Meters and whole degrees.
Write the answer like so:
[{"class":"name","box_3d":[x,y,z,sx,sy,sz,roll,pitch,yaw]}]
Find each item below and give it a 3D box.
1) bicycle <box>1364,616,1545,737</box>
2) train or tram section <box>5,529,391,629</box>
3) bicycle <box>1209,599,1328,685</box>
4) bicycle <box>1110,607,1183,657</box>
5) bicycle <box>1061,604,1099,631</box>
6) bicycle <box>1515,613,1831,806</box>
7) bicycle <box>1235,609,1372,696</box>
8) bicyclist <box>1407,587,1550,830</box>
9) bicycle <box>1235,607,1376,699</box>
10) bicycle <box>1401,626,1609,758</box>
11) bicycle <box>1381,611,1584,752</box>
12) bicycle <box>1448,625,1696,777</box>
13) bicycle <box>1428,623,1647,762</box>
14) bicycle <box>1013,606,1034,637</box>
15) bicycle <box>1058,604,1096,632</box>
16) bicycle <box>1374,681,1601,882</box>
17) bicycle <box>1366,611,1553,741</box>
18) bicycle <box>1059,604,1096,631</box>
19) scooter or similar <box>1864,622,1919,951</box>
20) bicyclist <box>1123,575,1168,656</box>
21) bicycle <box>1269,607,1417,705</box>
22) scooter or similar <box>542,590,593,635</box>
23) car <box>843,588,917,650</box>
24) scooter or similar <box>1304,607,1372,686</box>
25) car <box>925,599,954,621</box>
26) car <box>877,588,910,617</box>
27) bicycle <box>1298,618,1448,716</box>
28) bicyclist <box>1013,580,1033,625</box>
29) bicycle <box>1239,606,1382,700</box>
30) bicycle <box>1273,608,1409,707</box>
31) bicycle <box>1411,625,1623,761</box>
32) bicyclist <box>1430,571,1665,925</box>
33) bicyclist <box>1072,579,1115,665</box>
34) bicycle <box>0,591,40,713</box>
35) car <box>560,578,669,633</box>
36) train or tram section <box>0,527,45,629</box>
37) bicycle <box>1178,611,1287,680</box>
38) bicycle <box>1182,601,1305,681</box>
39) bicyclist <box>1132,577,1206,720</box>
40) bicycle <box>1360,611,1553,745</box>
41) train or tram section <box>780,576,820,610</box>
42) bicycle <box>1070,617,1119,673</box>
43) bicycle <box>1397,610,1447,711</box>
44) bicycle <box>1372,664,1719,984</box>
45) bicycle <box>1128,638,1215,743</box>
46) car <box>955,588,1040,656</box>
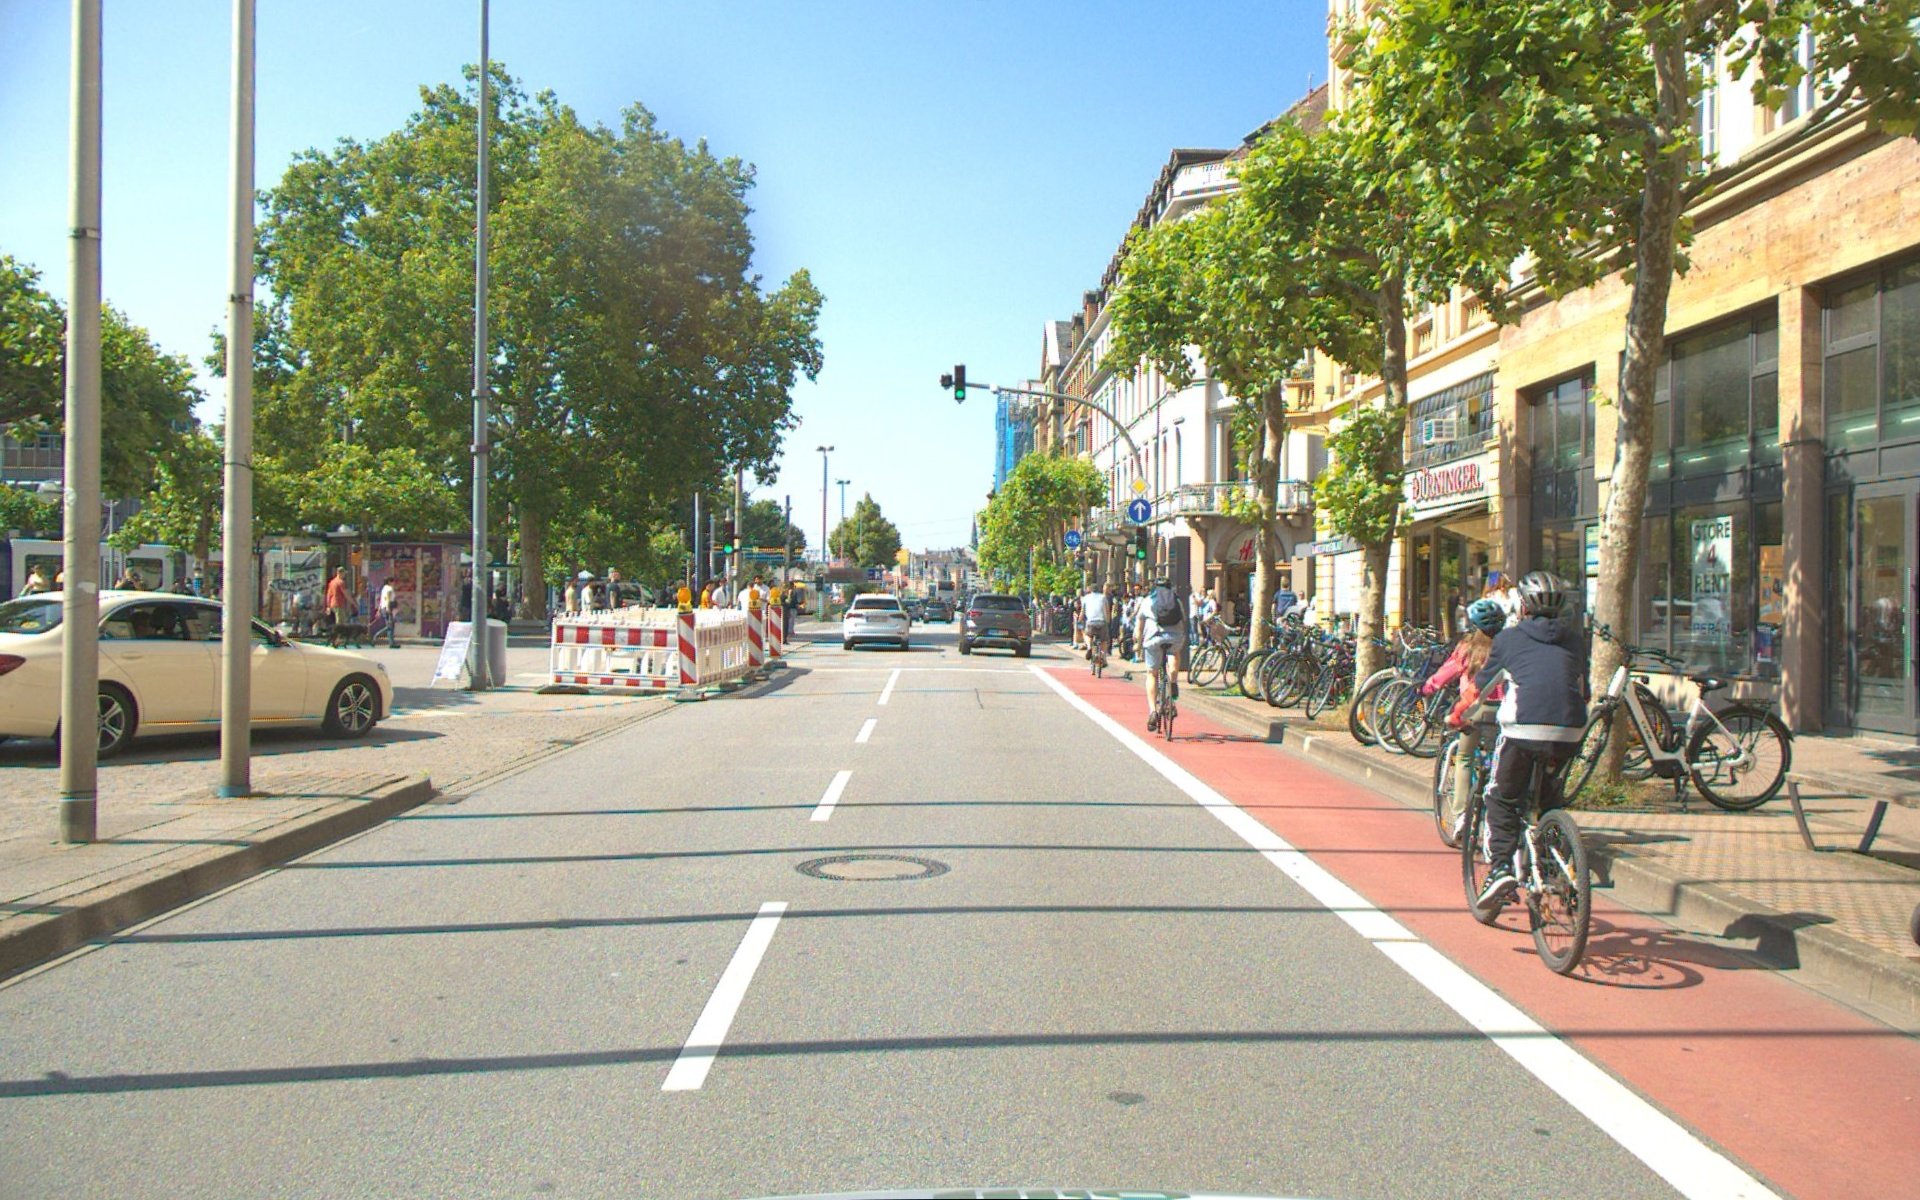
[{"class":"bicycle","box_3d":[5.022,0.773,16.841,1.692,1.182,0.477,1,0,1]},{"class":"train or tram section","box_3d":[-31.135,-0.775,68.985,2.568,3.741,15.495,1,0,34]},{"class":"bicycle","box_3d":[4.971,0.670,26.626,1.795,1.331,0.684,1,0,-21]},{"class":"bicycle","box_3d":[4.276,0.737,38.098,0.595,1.101,1.816,-2,1,-35]},{"class":"bicycle","box_3d":[4.515,0.667,62.239,1.391,0.997,0.445,-1,1,0]},{"class":"bicycle","box_3d":[4.967,0.745,11.610,1.891,1.270,0.736,1,0,1]},{"class":"bicycle","box_3d":[4.855,0.740,23.439,1.805,1.184,0.659,1,0,1]},{"class":"bicyclist","box_3d":[3.057,0.620,9.802,0.588,1.381,0.720,1,0,-3]},{"class":"bicycle","box_3d":[4.748,0.717,22.807,1.805,1.222,0.608,1,0,1]},{"class":"bicycle","box_3d":[4.850,0.812,14.775,1.692,1.128,0.477,1,0,1]},{"class":"bicycle","box_3d":[4.764,0.733,15.135,1.692,1.238,0.477,1,0,1]},{"class":"bicycle","box_3d":[4.814,0.783,13.089,1.692,1.128,0.736,1,0,1]},{"class":"bicycle","box_3d":[4.852,0.770,13.942,1.692,1.128,0.402,1,0,1]},{"class":"bicycle","box_3d":[2.190,0.737,57.221,0.634,1.015,2.030,1,0,-1]},{"class":"bicycle","box_3d":[4.373,0.669,61.776,1.391,0.997,0.445,-1,1,0]},{"class":"bicycle","box_3d":[3.058,1.013,9.809,0.588,0.942,2.086,1,0,-3]},{"class":"bicycle","box_3d":[4.922,0.745,16.353,1.692,1.238,0.477,1,0,1]},{"class":"bicycle","box_3d":[4.490,0.666,63.187,1.391,0.997,0.445,-1,1,0]},{"class":"scooter or similar","box_3d":[4.578,0.766,6.691,1.443,1.296,0.670,2,0,10]},{"class":"bicyclist","box_3d":[4.264,0.359,38.091,0.569,1.828,0.846,-2,0,-35]},{"class":"bicycle","box_3d":[4.963,0.721,21.499,1.805,1.222,0.474,1,0,1]},{"class":"scooter or similar","box_3d":[-12.793,0.403,53.899,1.252,1.445,1.037,0,0,30]},{"class":"car","box_3d":[-2.111,0.475,44.613,1.808,1.587,4.000,0,0,-1]},{"class":"scooter or similar","box_3d":[5.939,0.724,26.023,0.414,1.198,1.224,1,0,-21]},{"class":"car","box_3d":[-1.377,0.657,109.661,1.808,1.438,3.999,1,0,-2]},{"class":"car","box_3d":[-3.713,0.133,92.722,1.808,1.587,3.999,1,0,-2]},{"class":"bicycle","box_3d":[4.870,0.783,19.561,1.615,1.114,0.607,1,0,1]},{"class":"bicyclist","box_3d":[2.173,0.087,57.511,0.634,1.578,0.817,1,0,-1]},{"class":"bicycle","box_3d":[4.719,0.713,22.300,1.805,1.222,0.545,1,0,1]},{"class":"bicycle","box_3d":[4.844,0.720,21.083,1.615,1.222,0.474,1,0,1]},{"class":"bicycle","box_3d":[4.822,0.797,14.356,1.692,1.128,0.402,1,0,1]},{"class":"bicyclist","box_3d":[2.575,0.622,7.323,0.684,1.466,0.790,2,0,-4]},{"class":"bicyclist","box_3d":[2.614,0.424,32.422,0.758,1.664,0.851,0,0,-1]},{"class":"bicycle","box_3d":[-11.265,0.555,18.358,1.746,1.331,0.562,1,0,-4]},{"class":"car","box_3d":[-12.979,0.202,62.435,1.820,1.989,4.762,0,0,20]},{"class":"train or tram section","box_3d":[-38.450,-0.837,58.208,2.567,3.741,10.967,1,0,34]},{"class":"bicycle","box_3d":[4.625,0.760,28.098,1.746,1.142,0.562,0,0,-4]},{"class":"bicycle","box_3d":[4.660,0.671,27.219,1.904,1.279,0.701,1,0,-21]},{"class":"bicyclist","box_3d":[2.269,0.509,18.056,0.617,1.507,1.198,1,0,-2]},{"class":"bicycle","box_3d":[4.746,0.740,15.860,1.692,1.238,0.477,1,0,1]},{"class":"train or tram section","box_3d":[-16.474,-0.721,171.194,2.558,3.407,11.006,1,0,3]},{"class":"bicycle","box_3d":[2.617,0.862,32.441,0.758,1.023,2.329,0,0,-1]},{"class":"bicycle","box_3d":[5.828,0.740,20.905,0.462,1.208,1.656,1,0,11]},{"class":"bicycle","box_3d":[2.553,0.920,7.513,0.684,1.146,2.079,2,0,-4]},{"class":"bicycle","box_3d":[2.268,0.948,17.984,0.617,0.997,2.088,1,1,-2]},{"class":"car","box_3d":[0.905,0.524,42.312,1.809,1.586,3.998,3,0,-3]}]
